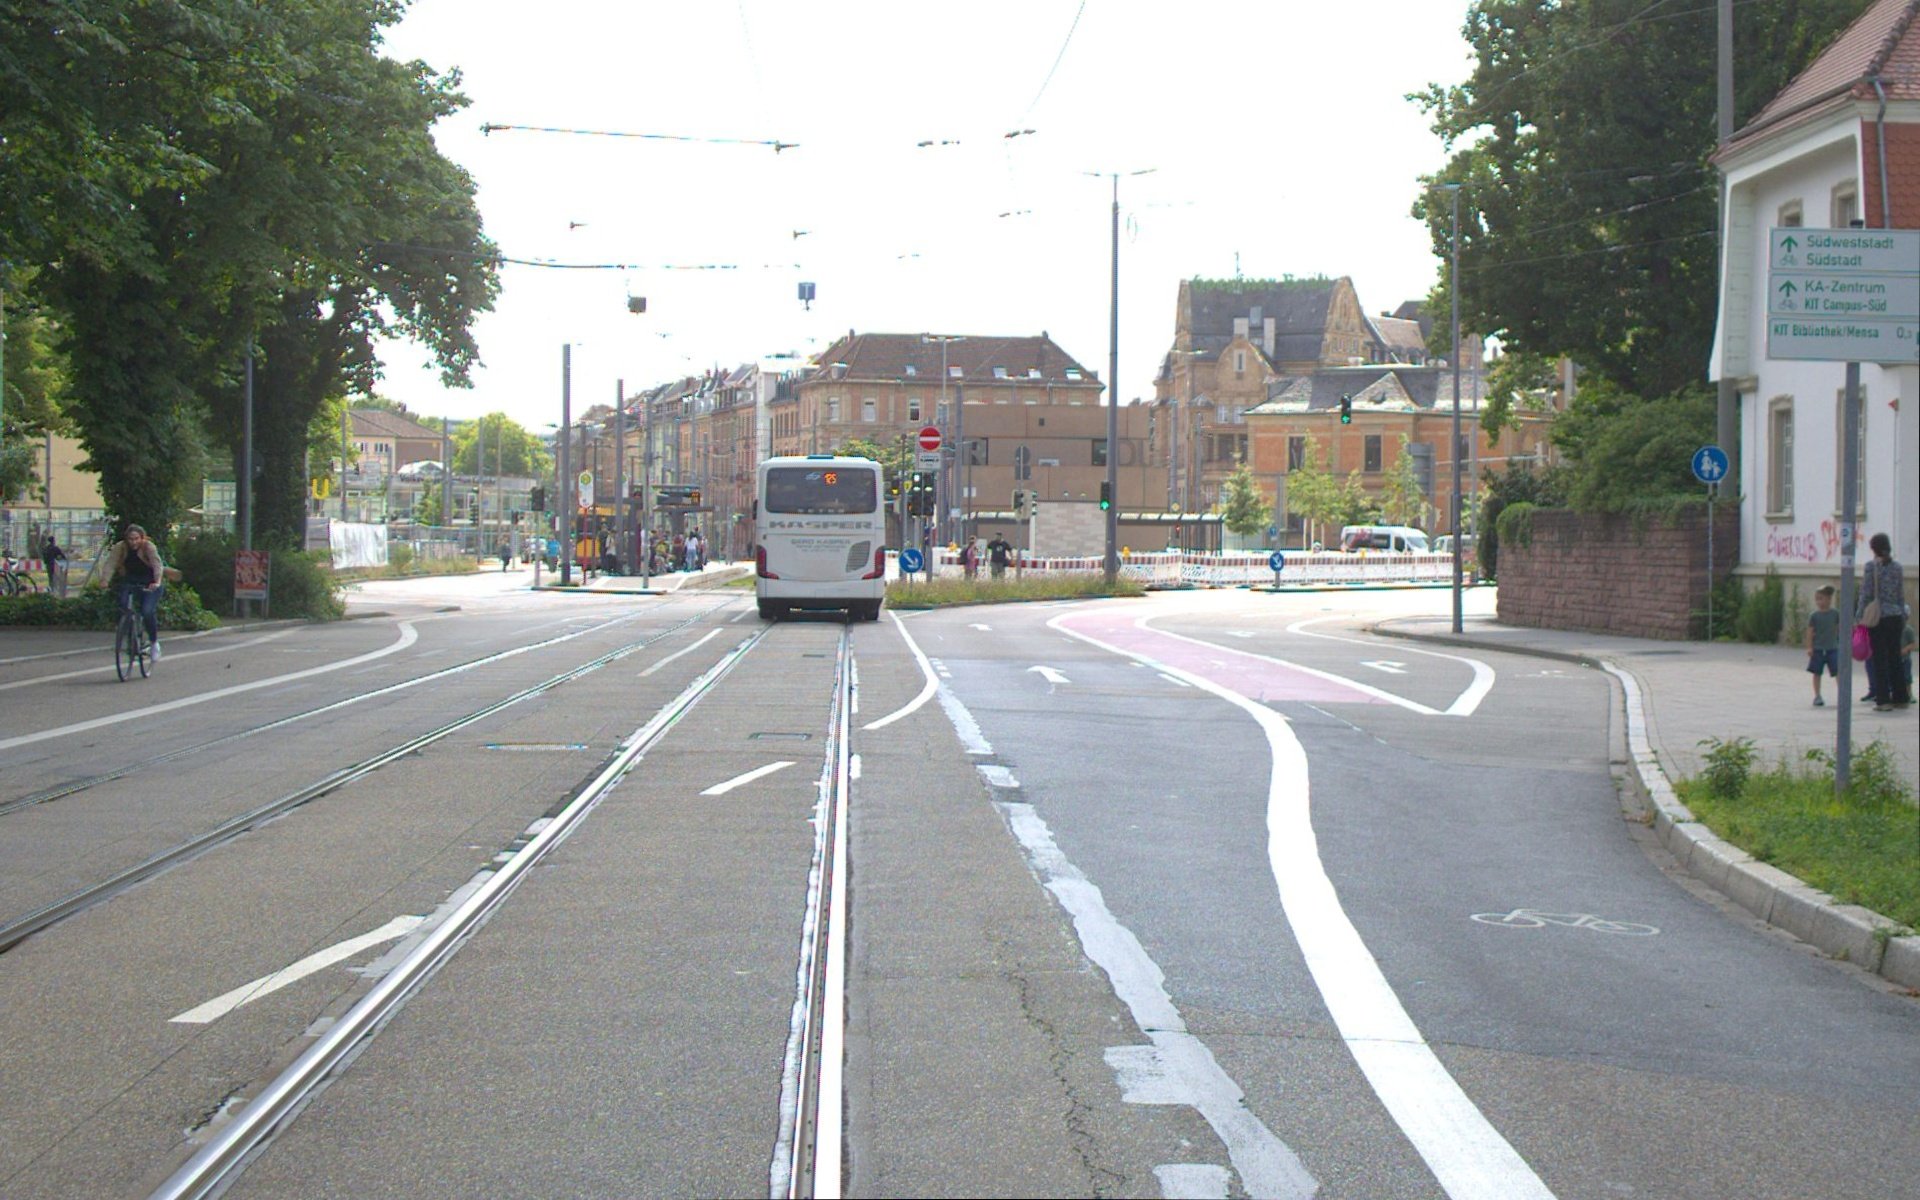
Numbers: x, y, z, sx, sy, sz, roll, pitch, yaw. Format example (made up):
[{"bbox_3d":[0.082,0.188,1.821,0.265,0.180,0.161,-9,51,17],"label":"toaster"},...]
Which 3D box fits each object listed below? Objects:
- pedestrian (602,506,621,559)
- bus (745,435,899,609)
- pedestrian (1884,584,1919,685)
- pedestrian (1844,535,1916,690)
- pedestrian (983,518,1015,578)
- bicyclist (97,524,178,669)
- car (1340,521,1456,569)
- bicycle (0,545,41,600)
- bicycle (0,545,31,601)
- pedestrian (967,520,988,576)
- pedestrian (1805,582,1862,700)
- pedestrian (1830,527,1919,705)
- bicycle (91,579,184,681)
[{"bbox_3d":[-12.428,-2.403,122.613,0.611,1.878,0.794,0,1,-1],"label":"pedestrian"},{"bbox_3d":[-2.955,-1.602,72.990,2.917,3.316,12.208,1,1,-2],"label":"bus"},{"bbox_3d":[9.720,0.351,35.223,0.342,1.007,0.397,-2,2,-10],"label":"pedestrian"},{"bbox_3d":[9.586,0.126,35.832,0.519,1.575,0.549,-2,2,-11],"label":"pedestrian"},{"bbox_3d":[1.210,-1.615,106.741,0.612,1.878,0.792,1,1,38],"label":"pedestrian"},{"bbox_3d":[-8.758,-0.049,36.622,0.691,1.514,0.868,-1,1,-5],"label":"bicyclist"},{"bbox_3d":[21.268,-2.680,167.226,2.295,2.311,5.587,0,1,-38],"label":"car"},{"bbox_3d":[-21.181,-0.618,74.873,2.113,1.164,0.730,1,1,-3],"label":"bicycle"},{"bbox_3d":[-21.070,-0.600,73.677,2.113,1.164,0.730,1,1,-3],"label":"bicycle"},{"bbox_3d":[0.541,-1.602,106.093,0.409,1.730,0.620,1,1,27],"label":"pedestrian"},{"bbox_3d":[9.054,0.420,35.636,0.421,1.196,0.406,-3,3,-42],"label":"pedestrian"},{"bbox_3d":[9.098,0.148,34.182,0.684,1.718,0.747,-1,2,-1],"label":"pedestrian"},{"bbox_3d":[-8.758,0.304,36.654,0.698,1.014,1.820,-1,1,-5],"label":"bicycle"}]
